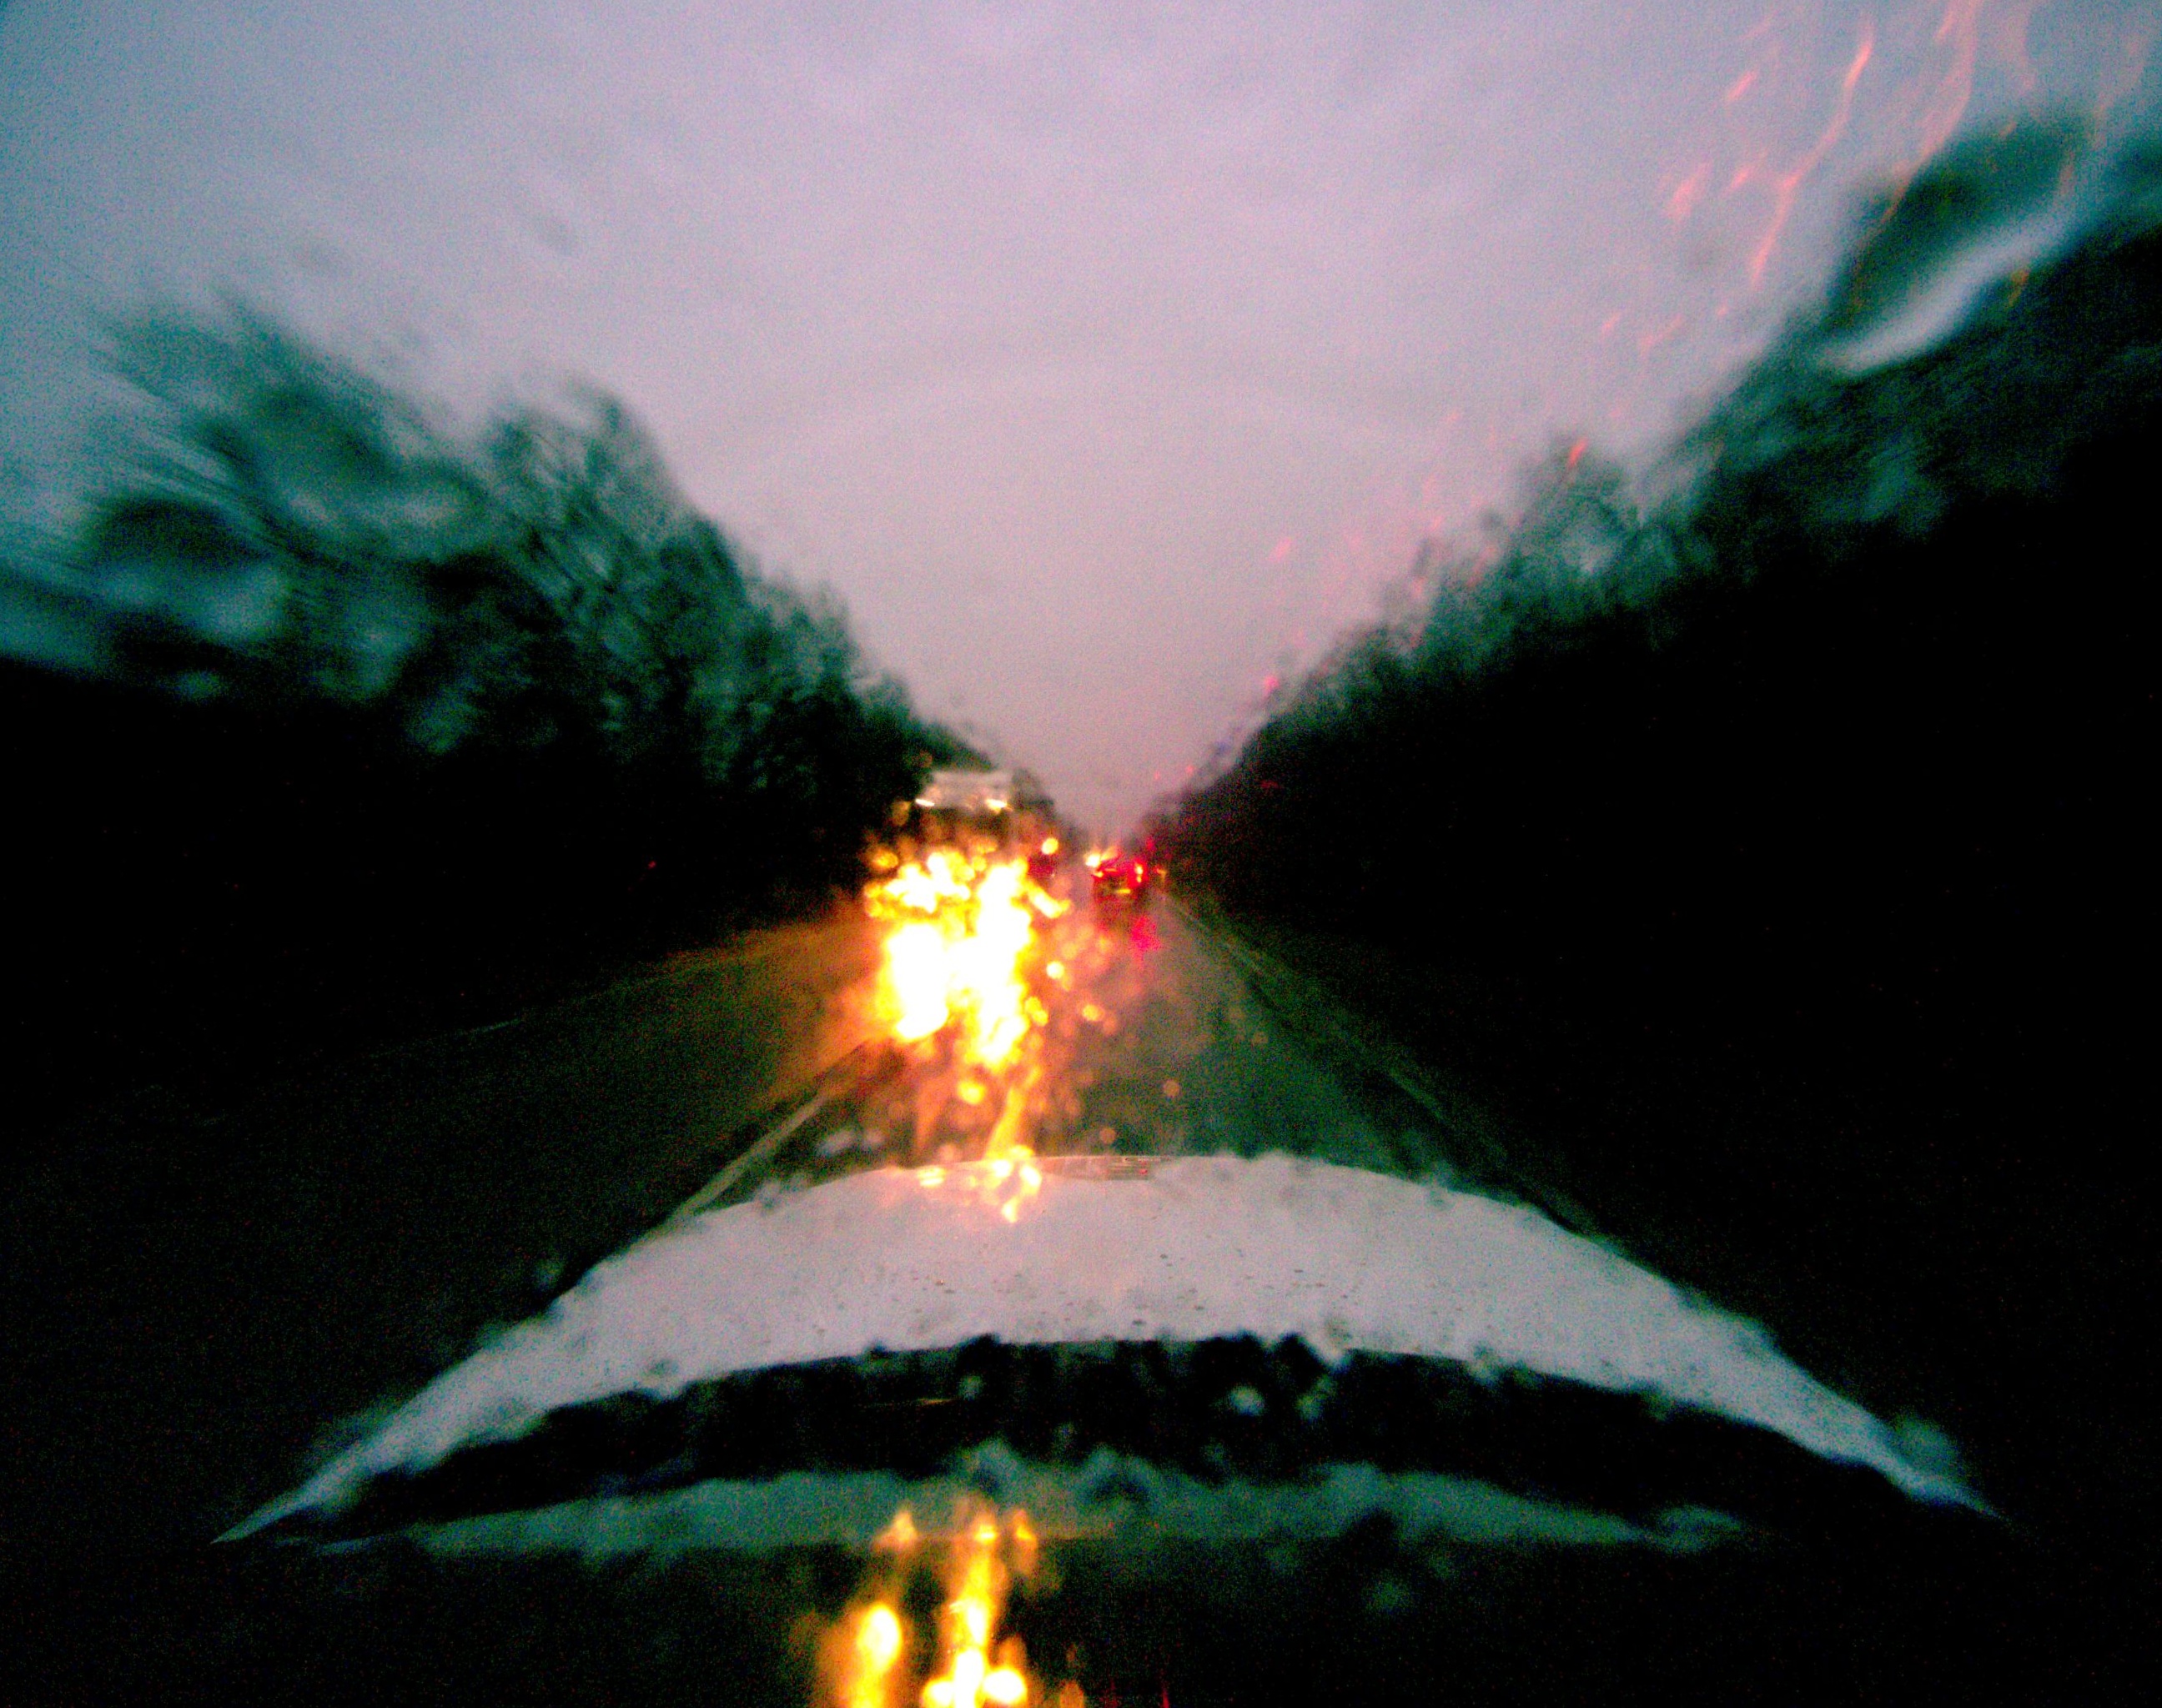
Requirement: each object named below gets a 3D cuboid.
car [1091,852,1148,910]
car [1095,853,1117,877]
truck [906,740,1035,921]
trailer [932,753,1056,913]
[{"bbox_3d":[1.217,0.801,25.596,1.641,1.672,3.516,-1,0,3],"label":"car"},{"bbox_3d":[1.984,0.838,64.446,1.726,1.779,4.002,-1,0,2],"label":"car"},{"bbox_3d":[-2.886,-0.573,22.869,2.632,4.416,5.556,-1,0,2],"label":"truck"},{"bbox_3d":[-2.659,-0.582,29.099,2.661,4.458,12.246,-1,0,2],"label":"trailer"}]
